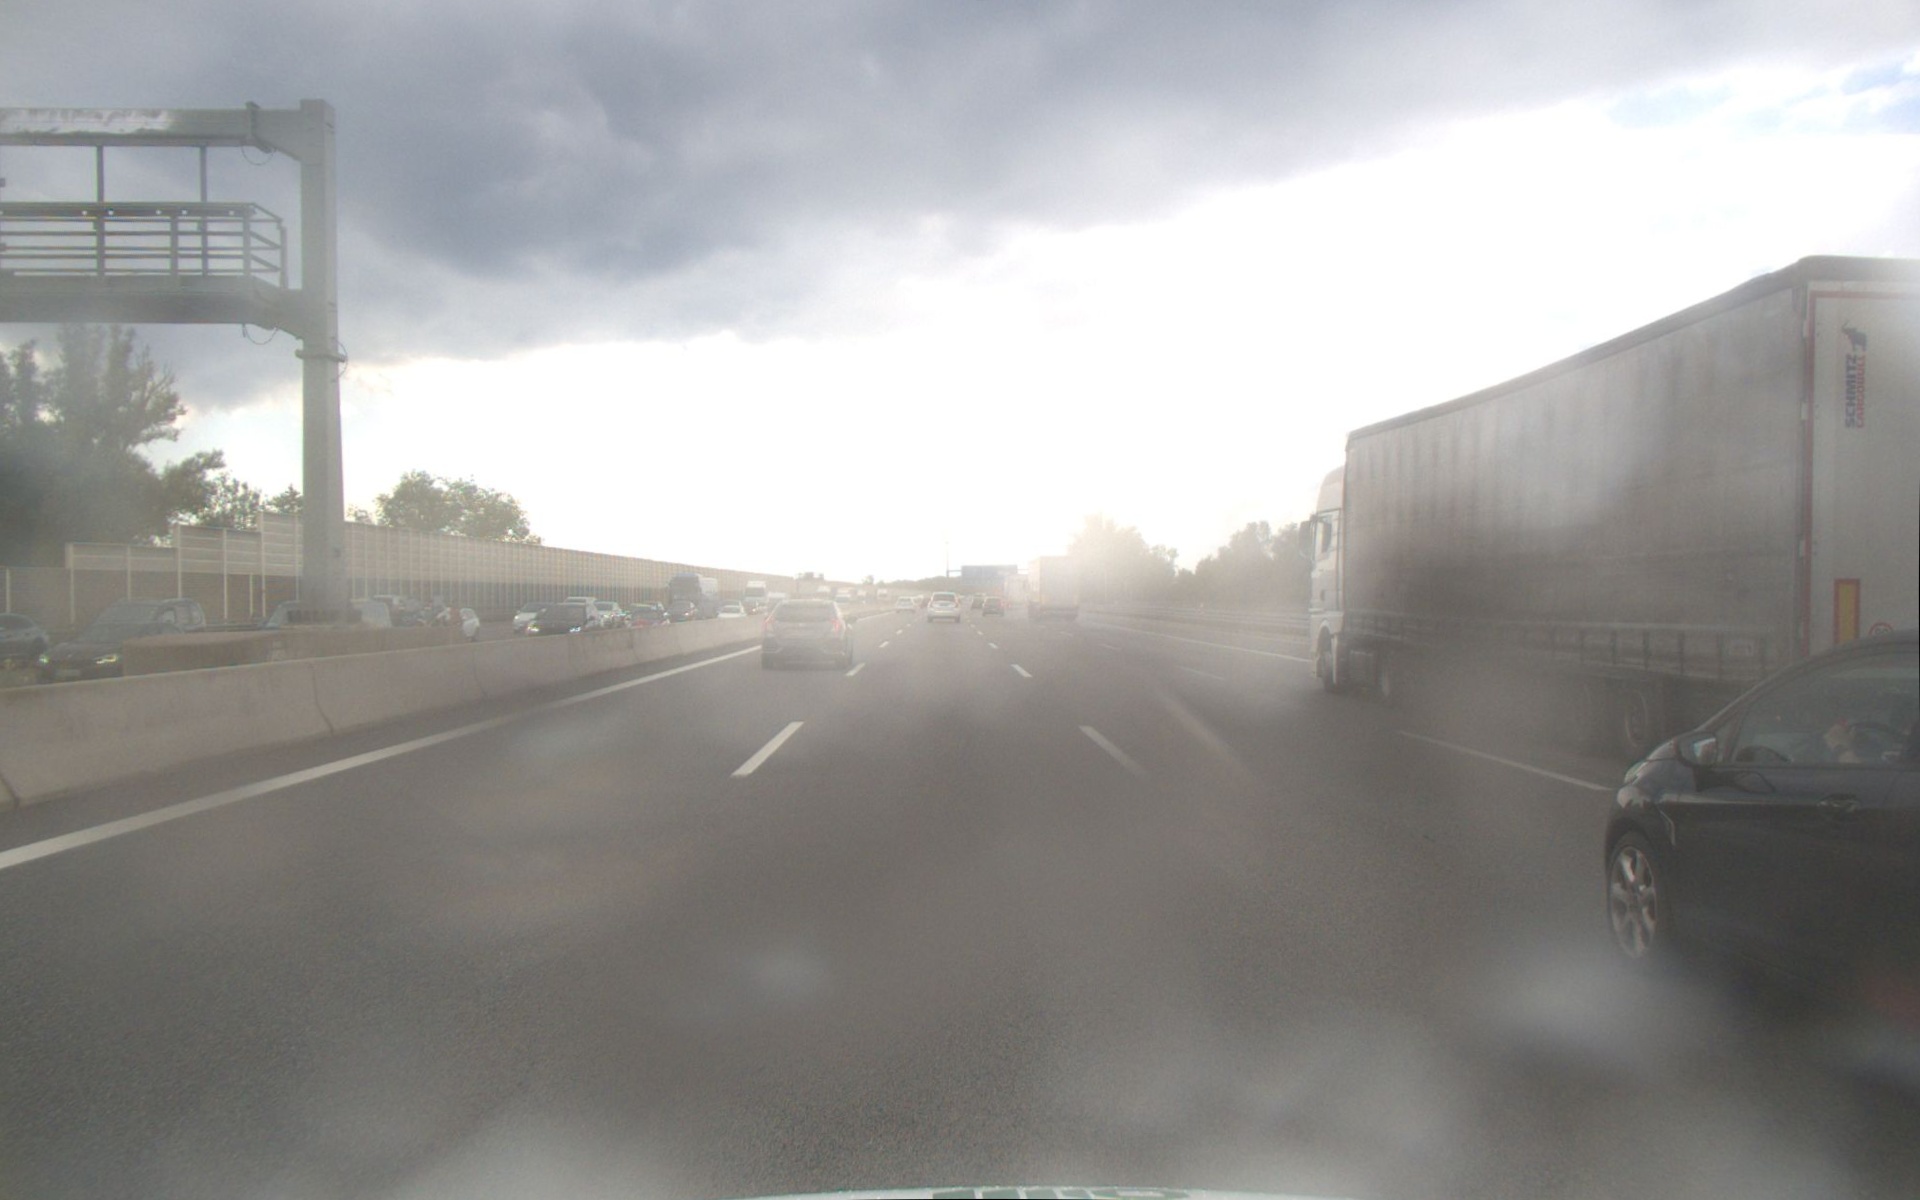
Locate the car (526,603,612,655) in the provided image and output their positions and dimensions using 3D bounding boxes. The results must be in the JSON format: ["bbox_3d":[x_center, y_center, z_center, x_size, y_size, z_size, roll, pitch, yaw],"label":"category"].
[{"bbox_3d":[-14.286,1.039,60.696,1.841,1.775,5.110,0,0,1],"label":"car"}]

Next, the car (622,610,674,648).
[{"bbox_3d":[-14.416,1.324,76.624,1.712,1.659,3.748,0,0,0],"label":"car"}]

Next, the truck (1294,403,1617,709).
[{"bbox_3d":[7.329,-0.626,25.524,2.901,4.090,6.587,0,1,-1],"label":"truck"}]

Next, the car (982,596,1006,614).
[{"bbox_3d":[2.782,0.404,137.145,1.798,1.466,4.054,0,1,-2],"label":"car"}]

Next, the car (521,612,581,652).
[{"bbox_3d":[-18.473,1.423,74.835,1.712,1.659,4.165,0,0,-1],"label":"car"}]

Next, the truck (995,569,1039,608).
[{"bbox_3d":[6.350,-1.300,187.011,4.158,4.249,11.986,1,0,-1],"label":"truck"}]

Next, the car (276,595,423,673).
[{"bbox_3d":[-14.588,0.769,39.808,1.779,1.739,4.806,0,0,-1],"label":"car"}]

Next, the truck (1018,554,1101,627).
[{"bbox_3d":[6.323,-0.641,107.864,4.096,4.363,12.607,1,0,-2],"label":"truck"}]

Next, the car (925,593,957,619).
[{"bbox_3d":[-1.128,0.354,98.081,1.737,1.466,4.053,0,1,-3],"label":"car"}]

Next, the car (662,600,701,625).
[{"bbox_3d":[-19.016,0.871,113.102,1.895,1.639,4.177,0,0,0],"label":"car"}]

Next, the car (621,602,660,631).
[{"bbox_3d":[-18.995,0.963,98.462,1.587,1.607,3.619,0,0,0],"label":"car"}]

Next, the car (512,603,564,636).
[{"bbox_3d":[-22.395,1.018,87.849,1.712,1.659,4.642,0,0,-2],"label":"car"}]

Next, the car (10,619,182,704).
[{"bbox_3d":[-17.945,1.239,34.552,1.648,1.605,3.874,0,0,-2],"label":"car"}]

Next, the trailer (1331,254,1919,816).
[{"bbox_3d":[7.452,-0.538,19.147,2.901,4.090,14.116,0,1,-1],"label":"trailer"}]

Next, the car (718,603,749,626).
[{"bbox_3d":[-14.777,0.942,108.196,1.539,1.418,3.575,0,0,0],"label":"car"}]

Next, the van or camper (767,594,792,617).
[{"bbox_3d":[-22.121,0.629,202.989,2.296,2.687,7.149,0,0,0],"label":"van or camper"}]

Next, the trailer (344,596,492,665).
[{"bbox_3d":[-14.681,0.777,45.248,2.100,1.739,6.045,0,0,-1],"label":"trailer"}]

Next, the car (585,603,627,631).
[{"bbox_3d":[-22.002,1.029,102.848,1.711,1.639,4.177,0,0,0],"label":"car"}]

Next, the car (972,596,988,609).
[{"bbox_3d":[2.368,0.265,195.532,1.798,1.466,4.054,0,1,-2],"label":"car"}]

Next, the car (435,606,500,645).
[{"bbox_3d":[-21.986,1.127,74.008,1.712,1.659,4.391,0,0,-2],"label":"car"}]

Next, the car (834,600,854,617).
[{"bbox_3d":[-14.892,1.102,212.557,2.115,2.107,6.014,0,0,0],"label":"car"}]

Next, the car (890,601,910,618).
[{"bbox_3d":[-5.571,0.850,153.248,1.737,1.466,3.872,0,1,-3],"label":"car"}]

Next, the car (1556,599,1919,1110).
[{"bbox_3d":[3.474,0.742,6.025,1.417,1.466,3.163,0,0,-1],"label":"car"}]

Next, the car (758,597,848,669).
[{"bbox_3d":[-3.335,0.667,35.894,1.725,1.393,5.057,0,1,-3],"label":"car"}]
